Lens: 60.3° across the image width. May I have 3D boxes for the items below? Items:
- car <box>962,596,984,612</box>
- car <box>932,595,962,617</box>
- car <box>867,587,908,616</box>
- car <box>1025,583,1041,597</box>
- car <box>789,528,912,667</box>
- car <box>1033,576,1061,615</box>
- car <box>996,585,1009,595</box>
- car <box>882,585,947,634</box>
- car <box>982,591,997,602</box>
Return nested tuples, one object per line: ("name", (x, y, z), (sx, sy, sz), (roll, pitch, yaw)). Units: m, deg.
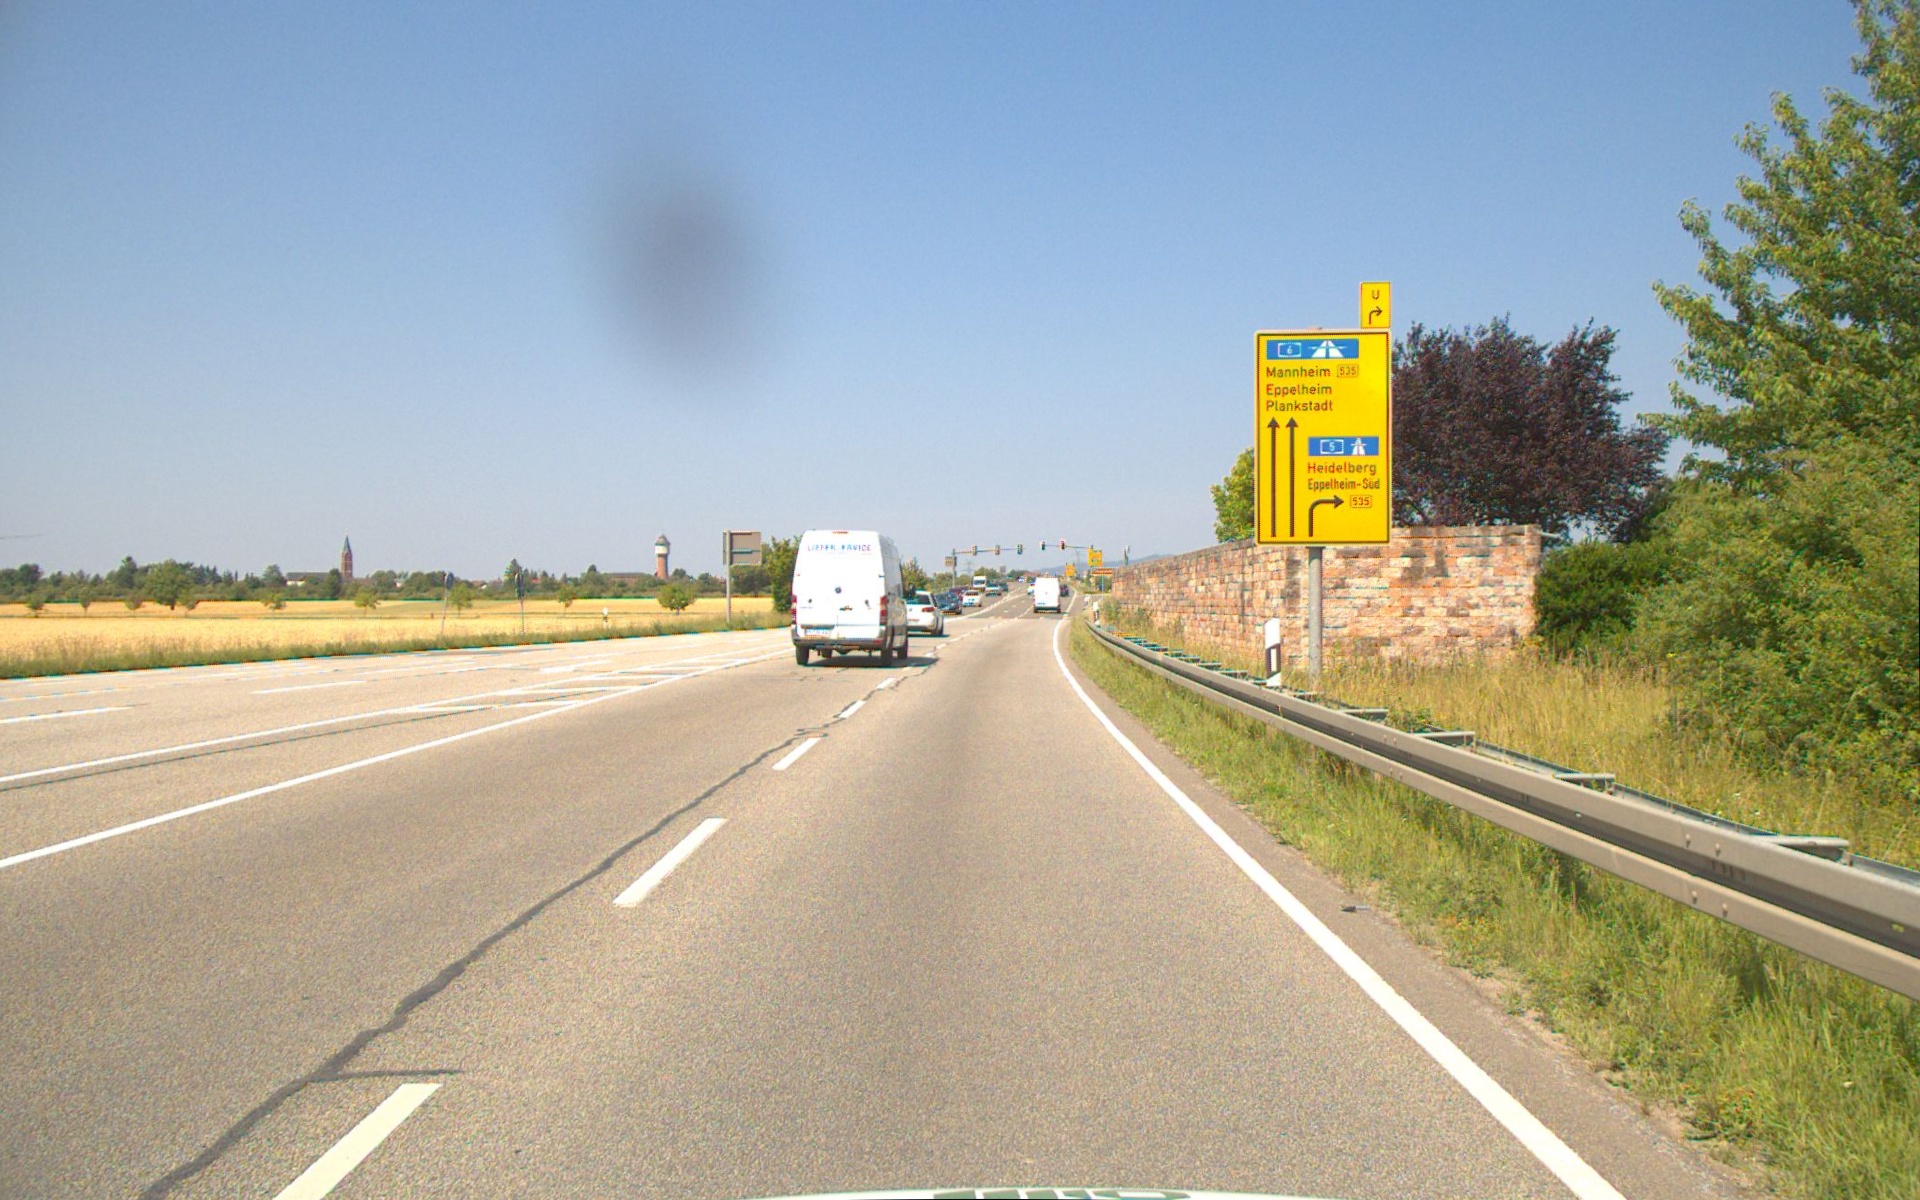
("car", (1.190, 0.360, 148.014), (1.712, 1.467, 4.083), (1, 0, 3))
("car", (-0.853, 0.406, 110.677), (1.712, 1.467, 4.083), (0, 0, 4))
("car", (-3.853, 0.065, 88.755), (1.722, 1.483, 4.233), (-1, 0, 4))
("car", (9.977, -1.371, 225.653), (1.952, 1.732, 4.277), (2, 0, 4))
("car", (-2.201, -0.054, 34.842), (1.997, 2.666, 5.742), (1, 0, 2))
("car", (6.380, -0.297, 120.741), (1.952, 2.742, 4.971), (2, -1, 4))
("car", (6.632, -1.614, 259.151), (1.818, 1.448, 4.002), (1, -1, 5))
("car", (-1.467, 0.275, 55.056), (1.761, 1.534, 4.198), (1, 1, 4))
("car", (3.980, -0.496, 222.906), (1.818, 1.448, 4.002), (-1, 0, 5))
